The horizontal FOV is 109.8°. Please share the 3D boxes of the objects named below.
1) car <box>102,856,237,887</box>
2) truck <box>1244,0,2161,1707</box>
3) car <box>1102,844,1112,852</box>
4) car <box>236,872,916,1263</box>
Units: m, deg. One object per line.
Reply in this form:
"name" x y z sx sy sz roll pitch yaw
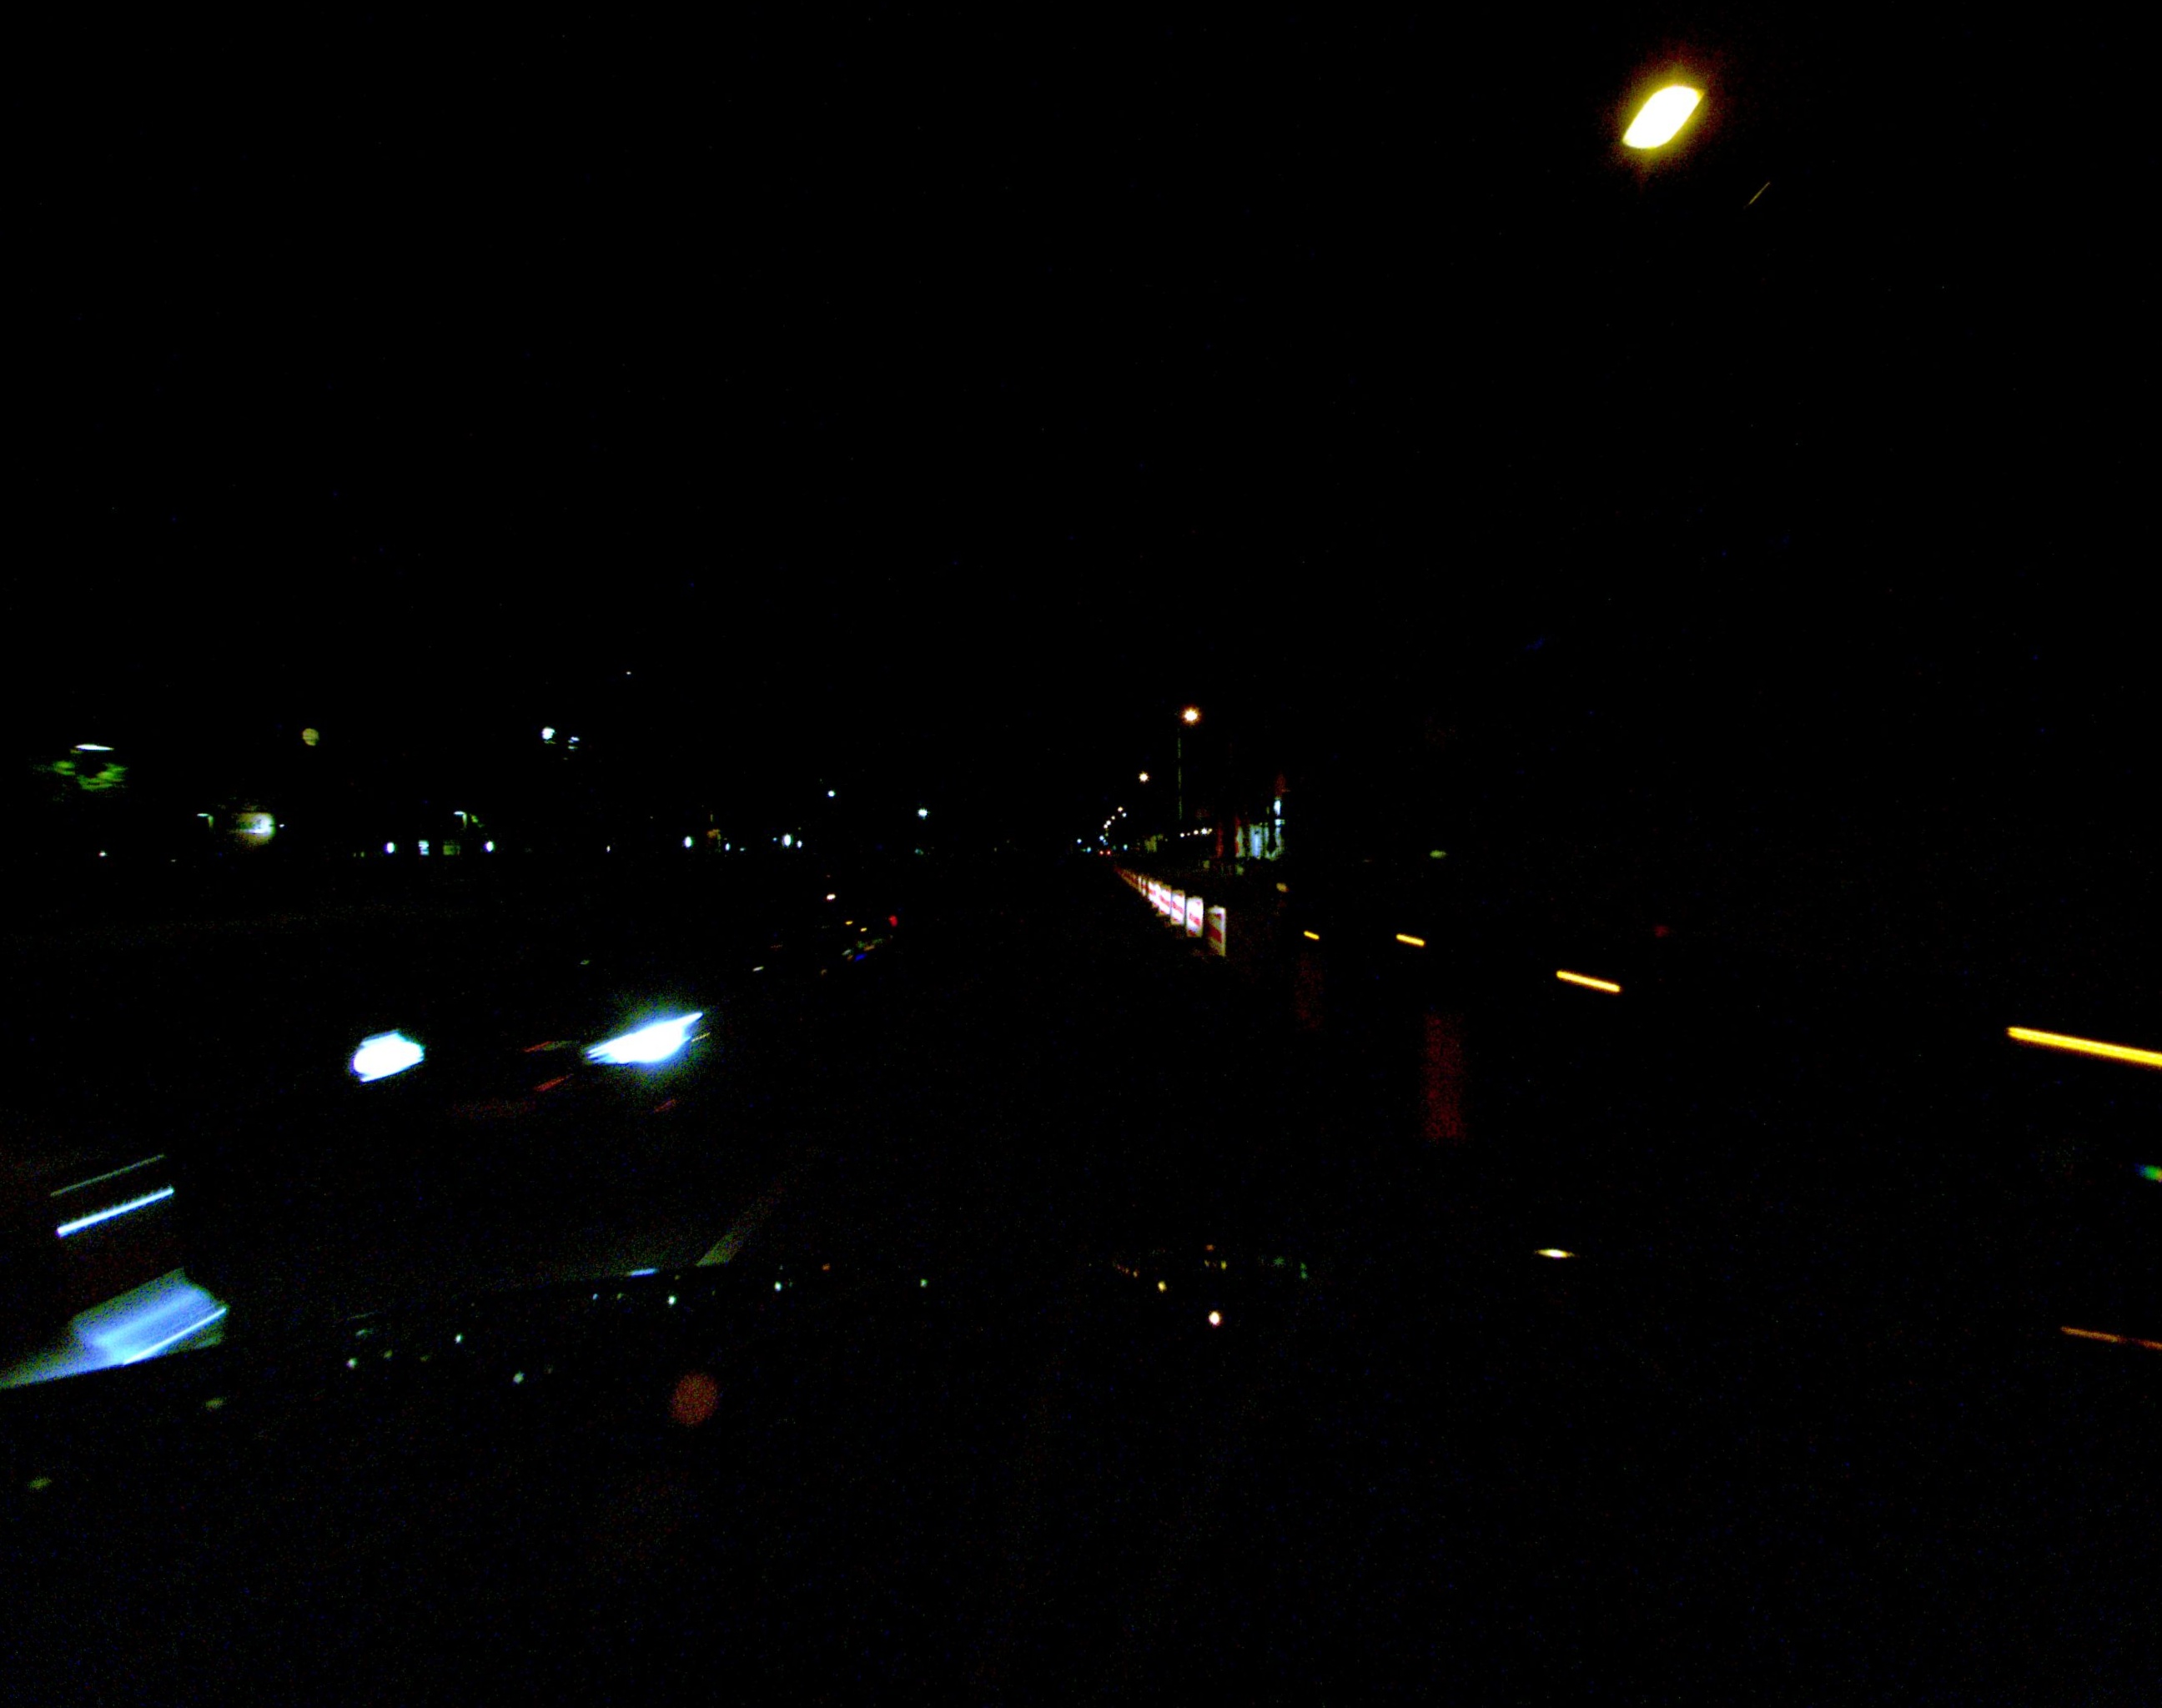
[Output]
"car" -48.364 0.884 40.472 1.998 1.499 4.300 0 1 0
"truck" 3.238 -0.304 3.759 2.762 3.696 10.111 0 1 1
"car" 4.779 -1.048 140.707 1.671 1.420 3.999 1 1 0
"car" -2.752 1.010 5.734 1.809 1.485 4.729 -3 1 1
